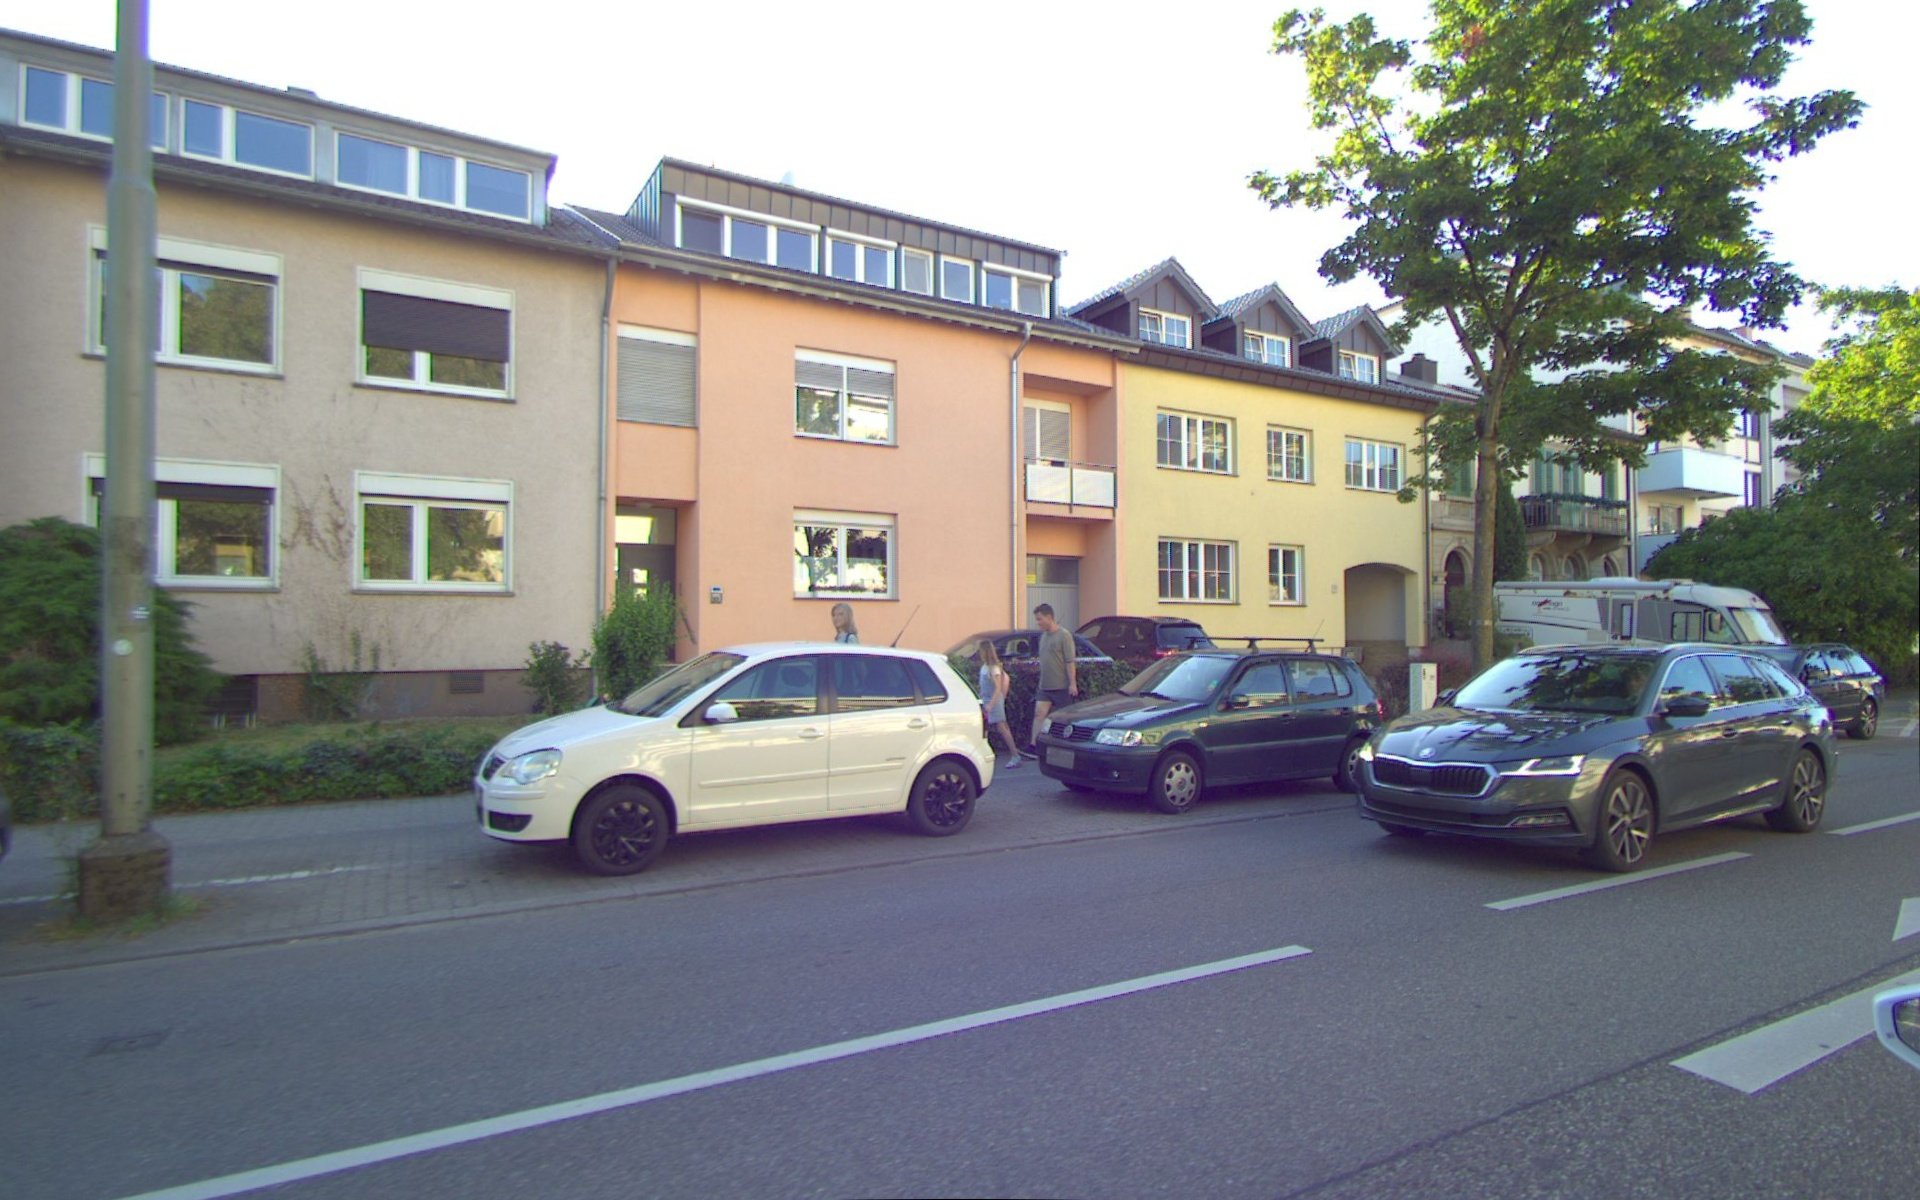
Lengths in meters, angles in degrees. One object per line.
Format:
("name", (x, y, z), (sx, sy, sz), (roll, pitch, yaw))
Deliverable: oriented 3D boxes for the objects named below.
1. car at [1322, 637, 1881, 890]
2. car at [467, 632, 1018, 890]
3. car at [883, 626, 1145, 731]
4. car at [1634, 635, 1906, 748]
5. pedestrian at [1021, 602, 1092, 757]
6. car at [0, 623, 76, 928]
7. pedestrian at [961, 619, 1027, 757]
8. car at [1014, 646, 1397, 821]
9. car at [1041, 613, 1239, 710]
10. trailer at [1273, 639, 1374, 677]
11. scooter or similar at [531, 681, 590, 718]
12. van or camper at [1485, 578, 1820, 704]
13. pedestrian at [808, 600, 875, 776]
("car", (5.071, 1.056, 7.796), (4.480, 1.471, 1.753), (1, -4, -30))
("car", (-1.576, 1.025, 7.709), (3.846, 1.543, 1.585), (1, -2, -31))
("car", (0.846, 1.143, 15.379), (3.706, 1.427, 1.658), (1, -3, -29))
("car", (12.811, 1.343, 15.839), (4.463, 1.514, 1.859), (1, -1, -30))
("pedestrian", (1.167, 0.947, 12.195), (0.564, 1.816, 0.711), (1, -2, -27))
("car", (-6.443, 0.863, 4.493), (3.392, 1.543, 1.587), (1, -2, -27))
("pedestrian", (0.380, 0.978, 11.406), (0.535, 1.515, 0.588), (1, -2, -27))
("car", (2.458, 1.170, 9.863), (3.623, 1.415, 1.536), (1, -2, -30))
("car", (3.484, 1.143, 20.120), (1.843, 1.657, 3.971), (1, 0, -28))
("trailer", (10.892, 1.716, 30.225), (1.608, 0.973, 2.393), (1, 0, -29))
("scooter or similar", (-6.577, 1.628, 16.543), (0.859, 0.516, 0.399), (-2, -1, -28))
("van or camper", (17.462, 0.913, 25.904), (2.324, 2.810, 6.765), (1, 0, -30))
("pedestrian", (-1.274, 0.921, 10.777), (0.499, 1.816, 0.711), (1, -2, -27))
